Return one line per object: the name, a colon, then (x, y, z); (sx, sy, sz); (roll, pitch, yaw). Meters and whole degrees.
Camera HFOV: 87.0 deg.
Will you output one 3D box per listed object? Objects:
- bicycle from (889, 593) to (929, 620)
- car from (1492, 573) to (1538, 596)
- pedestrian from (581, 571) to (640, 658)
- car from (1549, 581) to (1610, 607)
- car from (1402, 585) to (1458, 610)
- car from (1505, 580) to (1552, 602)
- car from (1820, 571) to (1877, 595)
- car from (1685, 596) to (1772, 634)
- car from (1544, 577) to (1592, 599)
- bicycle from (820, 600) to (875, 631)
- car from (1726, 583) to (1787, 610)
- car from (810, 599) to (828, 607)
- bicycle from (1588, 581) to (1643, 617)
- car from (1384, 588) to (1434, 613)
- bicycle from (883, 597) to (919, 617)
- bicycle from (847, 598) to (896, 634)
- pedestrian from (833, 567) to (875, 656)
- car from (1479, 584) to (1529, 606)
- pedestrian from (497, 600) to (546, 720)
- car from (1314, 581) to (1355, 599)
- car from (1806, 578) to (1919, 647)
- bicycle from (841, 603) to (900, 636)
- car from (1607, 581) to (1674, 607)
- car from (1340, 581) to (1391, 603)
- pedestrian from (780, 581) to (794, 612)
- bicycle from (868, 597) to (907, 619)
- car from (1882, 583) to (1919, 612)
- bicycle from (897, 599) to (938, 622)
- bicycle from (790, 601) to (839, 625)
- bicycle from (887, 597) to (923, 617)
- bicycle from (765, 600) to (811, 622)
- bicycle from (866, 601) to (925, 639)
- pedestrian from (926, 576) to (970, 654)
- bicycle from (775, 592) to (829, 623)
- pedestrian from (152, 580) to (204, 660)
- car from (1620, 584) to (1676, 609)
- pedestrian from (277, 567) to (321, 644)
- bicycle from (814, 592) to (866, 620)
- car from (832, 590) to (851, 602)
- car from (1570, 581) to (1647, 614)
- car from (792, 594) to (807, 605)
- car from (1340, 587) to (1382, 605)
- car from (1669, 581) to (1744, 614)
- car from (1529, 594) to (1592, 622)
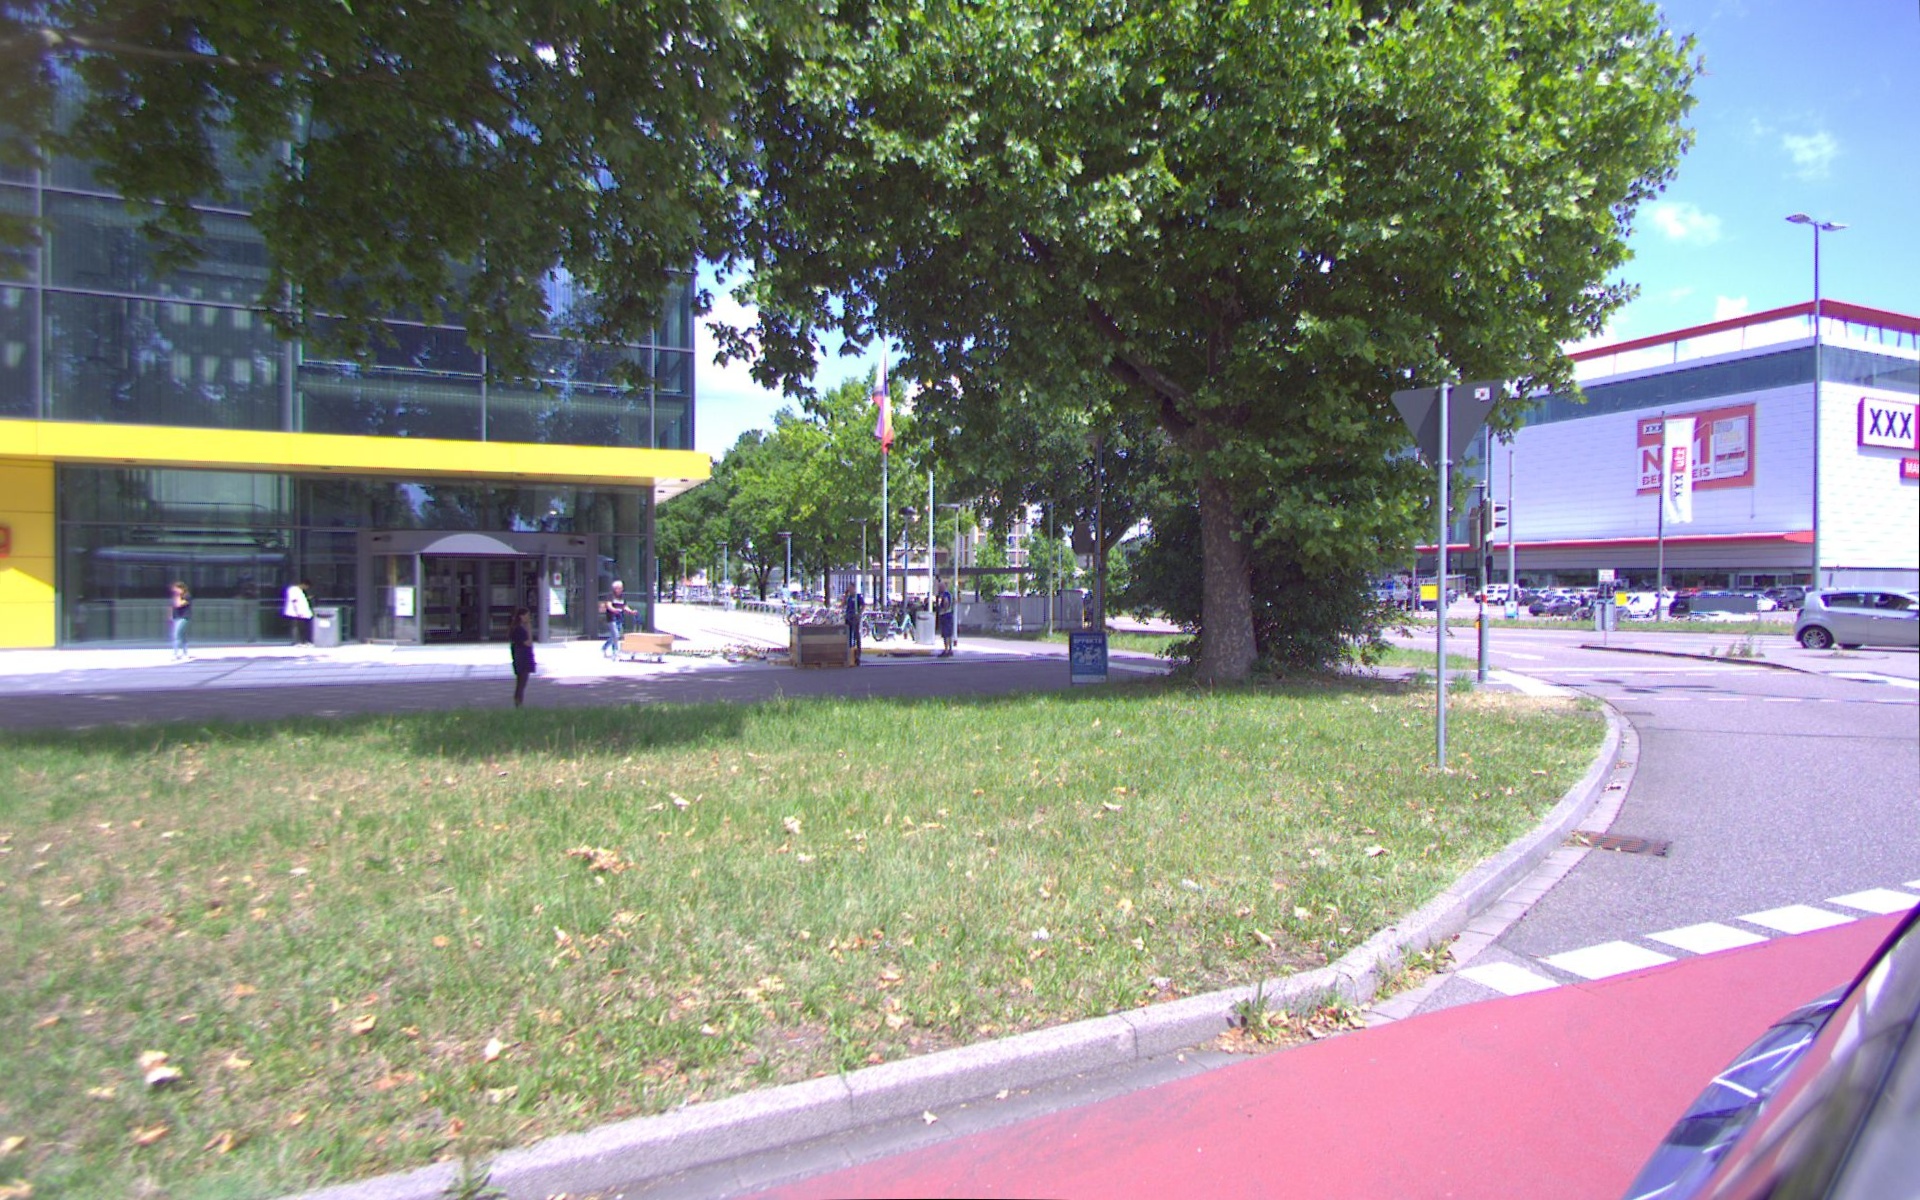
bicycle: (-2.342, 0.309, 46.901); (1.830, 1.247, 0.424); (1, -1, -28)
car: (57.897, -1.600, 105.569); (4.476, 2.335, 1.873); (0, 0, -24)
pedestrian: (-8.056, 0.307, 23.363); (0.876, 1.908, 0.969); (1, 3, 19)
car: (49.107, -0.483, 80.255); (4.272, 2.013, 2.004); (0, 2, -24)
car: (40.649, -0.256, 87.502); (4.272, 2.014, 2.004); (-1, 1, -24)
car: (53.515, -0.824, 95.287); (3.917, 2.039, 1.780); (0, 0, -23)
car: (74.216, -1.419, 84.519); (4.000, 2.014, 2.004); (0, 0, -22)
car: (42.523, 0.811, 55.967); (4.272, 2.014, 2.004); (0, 0, -24)
car: (58.414, -1.119, 97.216); (3.917, 2.039, 2.004); (0, 0, -23)
bicycle: (-3.847, 0.528, 34.801); (1.830, 1.007, 0.465); (0, 0, -27)
car: (60.697, -0.302, 77.084); (4.001, 2.014, 2.004); (0, 0, -24)
car: (-21.359, 0.425, 153.233); (1.760, 1.267, 4.315); (0, 0, -21)
bicycle: (31.814, -0.046, 49.162); (0.999, 1.697, 2.052); (0, 0, -23)
car: (39.888, 0.017, 89.816); (4.000, 2.014, 1.846); (-2, 1, -24)
bicycle: (-3.102, 0.395, 53.328); (1.829, 1.007, 0.424); (2, -1, -28)
bicycle: (-2.944, 0.518, 33.762); (1.651, 1.172, 0.461); (1, -1, -37)
pedestrian: (-2.604, 0.257, 24.832); (0.990, 2.097, 0.976); (0, 3, -8)
car: (52.500, -0.483, 97.689); (4.272, 2.014, 2.004); (0, 0, -24)
pedestrian: (-6.480, 0.874, 14.980); (0.580, 1.683, 0.722); (1, 3, -19)
car: (43.837, -1.148, 118.413); (4.272, 2.014, 2.004); (0, 0, -24)
car: (21.841, 0.254, 22.741); (1.861, 1.488, 3.838); (-2, -1, -25)
bicycle: (-2.886, 0.637, 32.665); (1.828, 1.007, 0.424); (2, -1, -21)
car: (48.439, -0.437, 72.044); (4.272, 1.863, 2.004); (0, 0, -24)
car: (37.648, -0.769, 94.014); (4.272, 2.014, 2.004); (0, 0, -24)
pedestrian: (-9.768, -0.203, 57.037); (0.518, 1.743, 0.630); (1, 1, 21)
bicycle: (-3.497, 0.389, 48.699); (1.830, 1.007, 0.424); (1, 0, -28)
car: (68.888, -0.174, 72.938); (4.272, 2.014, 2.004); (0, 0, -24)
bicycle: (-1.904, 0.460, 45.752); (1.830, 1.007, 0.424); (0, 1, -28)
bicycle: (-5.646, 0.508, 39.244); (1.830, 0.893, 0.424); (1, 0, -28)
bicycle: (-2.881, 0.352, 52.889); (1.829, 1.007, 0.424); (2, -1, -28)
bicycle: (-7.209, 0.454, 42.463); (1.829, 0.893, 0.471); (1, -1, -22)
bicycle: (-2.010, 0.611, 31.718); (1.892, 1.121, 0.504); (0, 2, -41)
pedestrian: (-0.303, 0.353, 25.583); (0.990, 1.926, 0.976); (0, 1, -8)
bicycle: (-6.489, 0.304, 41.501); (2.102, 1.245, 0.722); (1, -1, -13)
pedestrian: (-16.914, 0.416, 21.891); (0.800, 1.684, 0.694); (2, 2, 37)
car: (56.965, -0.319, 83.774); (4.001, 2.014, 2.004); (0, 0, -24)
pedestrian: (-16.544, 0.133, 25.339); (0.766, 1.910, 0.619); (0, 0, -14)
bicycle: (-4.394, 0.223, 37.085); (1.830, 1.007, 0.424); (1, 1, -28)
car: (-17.864, -0.555, 152.600); (1.760, 1.723, 4.235); (0, 0, -21)
car: (39.939, -0.165, 62.320); (4.272, 2.014, 2.004); (0, 0, -24)
car: (-26.100, -0.081, 164.428); (1.759, 1.665, 4.178); (0, 0, -20)
car: (45.243, -0.493, 114.166); (4.272, 2.014, 2.004); (0, 0, -24)
car: (49.153, -0.180, 66.628); (4.502, 2.014, 2.004); (-1, 2, -24)
car: (45.032, 0.568, 75.903); (4.272, 2.014, 2.004); (0, 0, -24)
